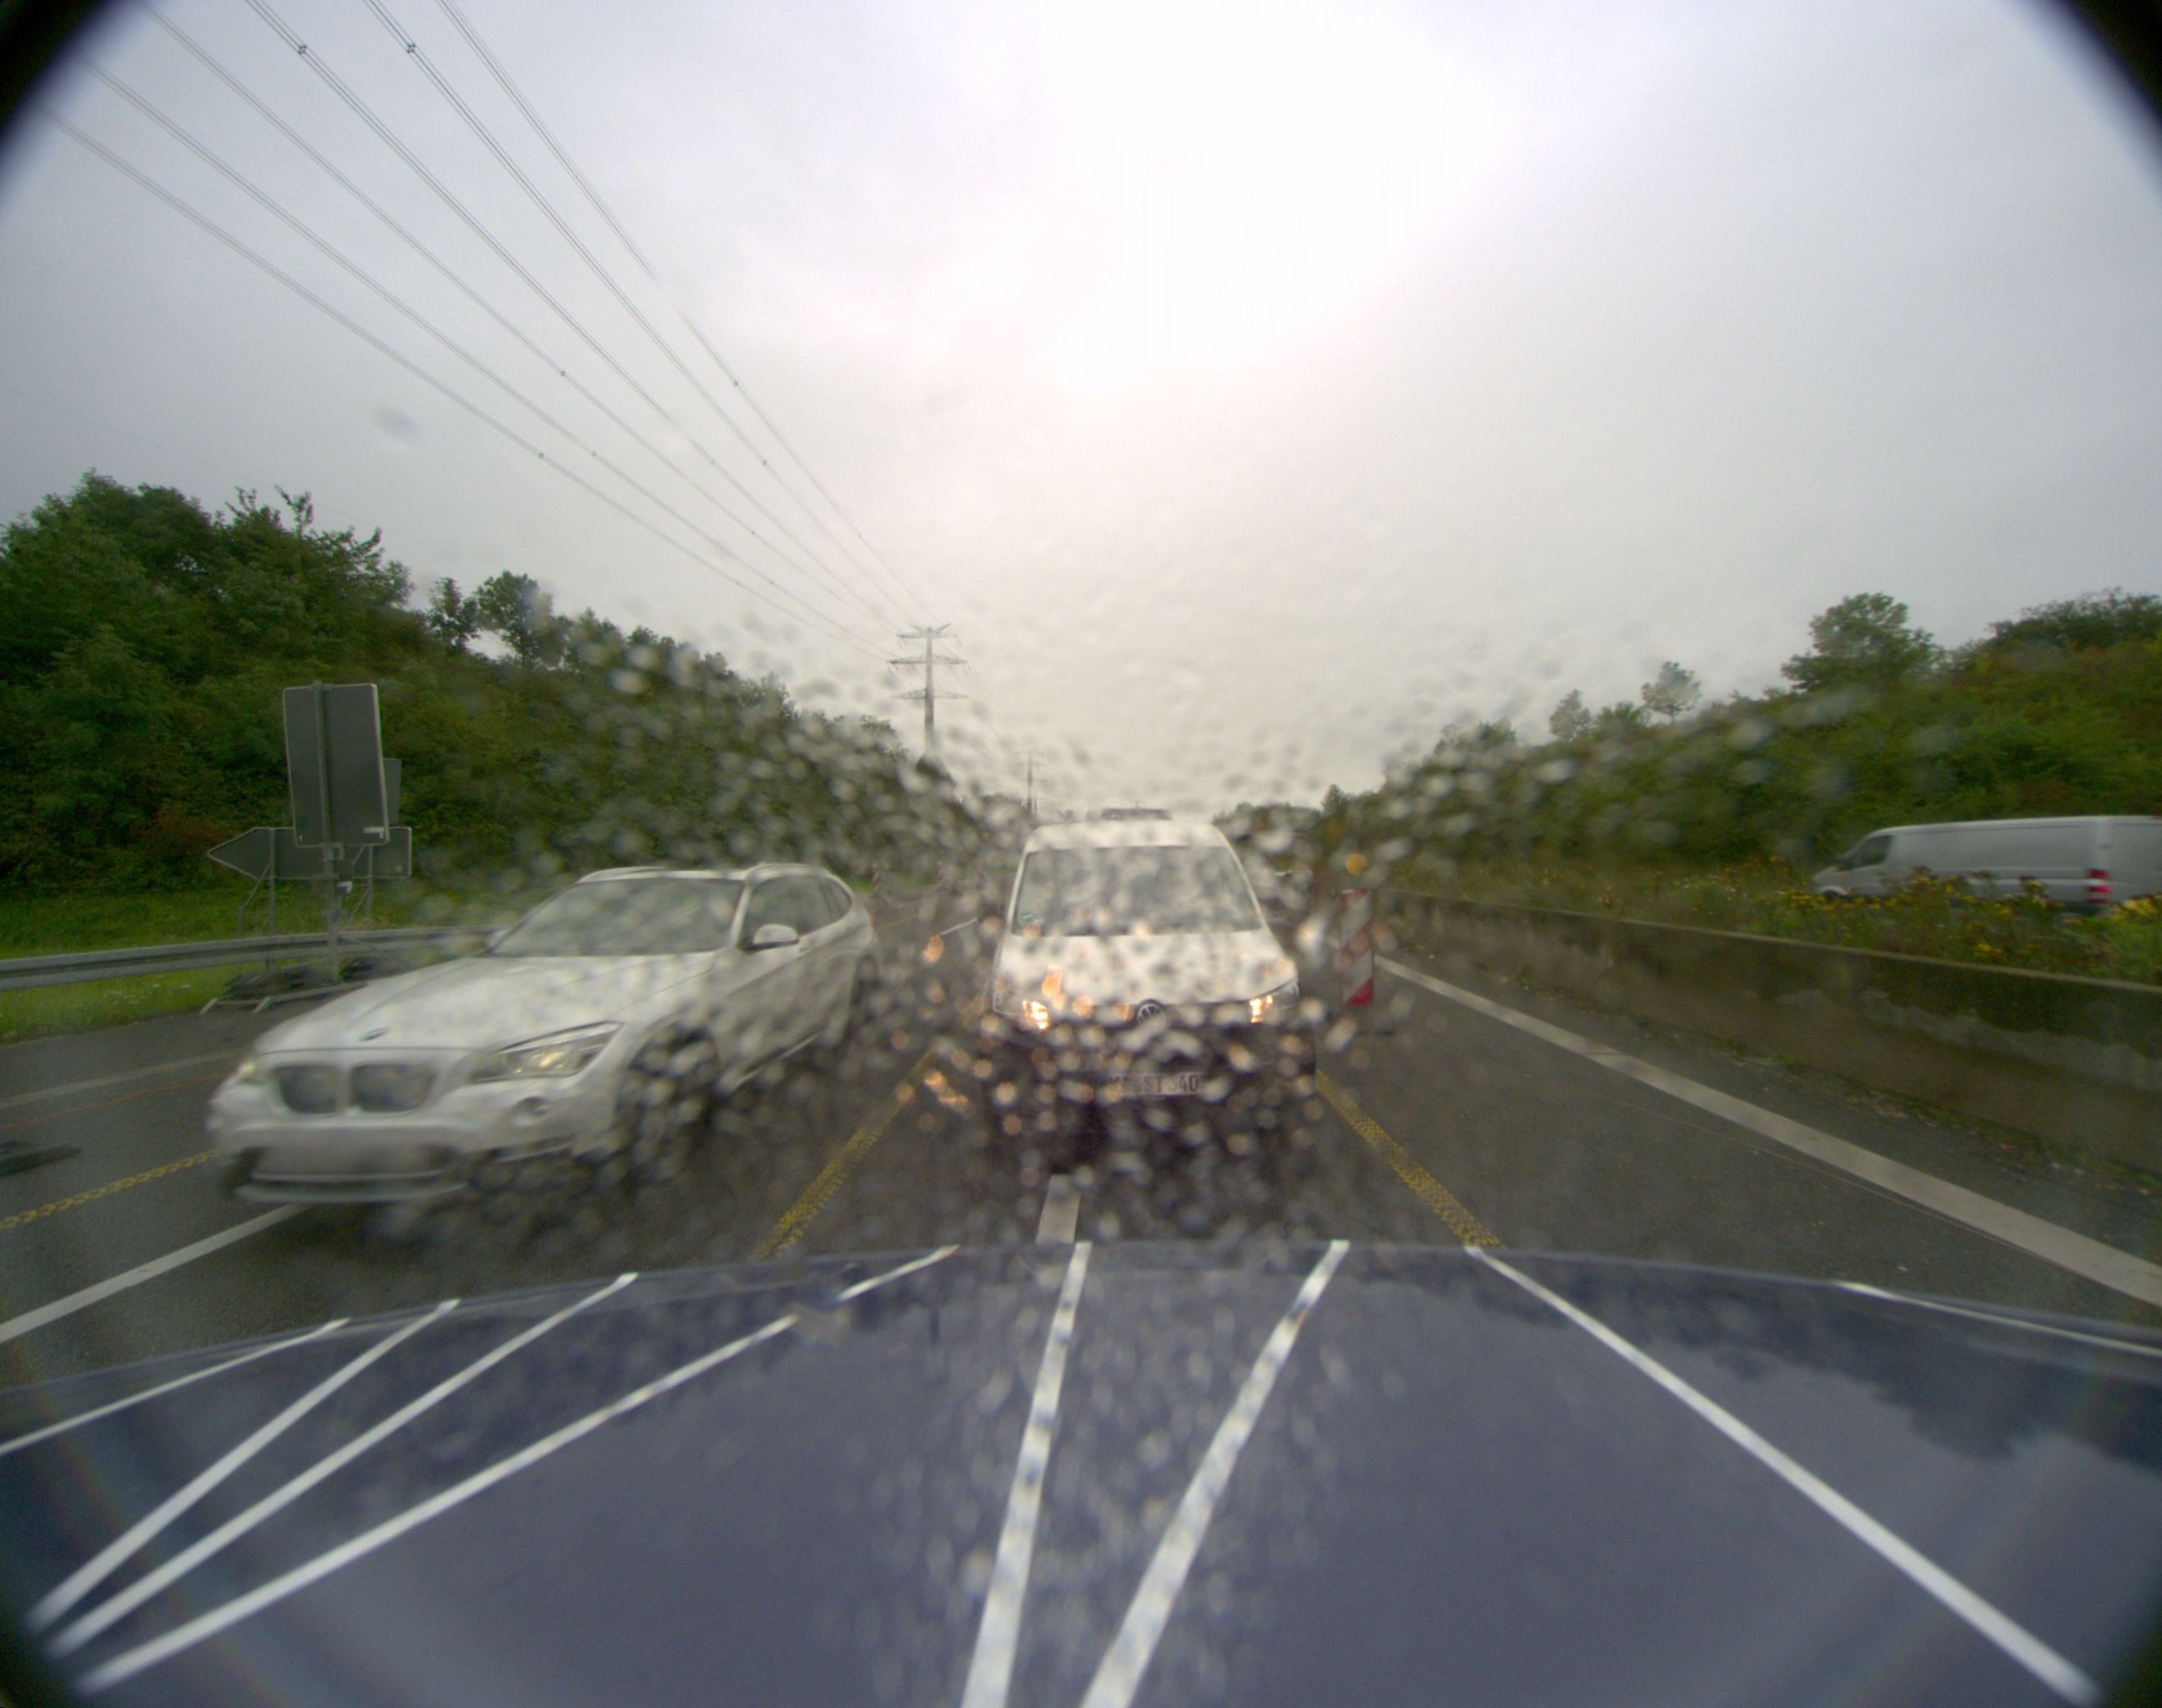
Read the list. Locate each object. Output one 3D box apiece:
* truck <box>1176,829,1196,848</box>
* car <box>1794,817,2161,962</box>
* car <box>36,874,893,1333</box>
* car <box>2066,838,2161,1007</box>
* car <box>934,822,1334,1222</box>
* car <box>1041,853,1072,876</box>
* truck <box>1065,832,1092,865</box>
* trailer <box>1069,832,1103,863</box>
[{"bbox_3d":[26.698,-3.915,193.671,3.414,4.498,17.288,-1,1,3],"label":"truck"},{"bbox_3d":[18.405,0.606,15.612,2.245,2.426,5.885,0,0,4],"label":"car"},{"bbox_3d":[-2.824,0.981,4.897,1.874,1.526,4.198,-1,0,4],"label":"car"},{"bbox_3d":[14.033,0.820,7.697,1.998,2.035,4.779,0,0,2],"label":"car"},{"bbox_3d":[0.268,0.771,5.808,1.770,1.774,4.647,-2,0,1],"label":"car"},{"bbox_3d":[-1.811,0.748,58.353,2.051,1.587,5.801,-2,0,1],"label":"car"},{"bbox_3d":[-0.282,-0.688,95.148,2.552,3.924,4.002,-2,1,9],"label":"truck"},{"bbox_3d":[0.774,-0.895,101.615,2.524,3.812,12.357,-2,1,9],"label":"trailer"}]
